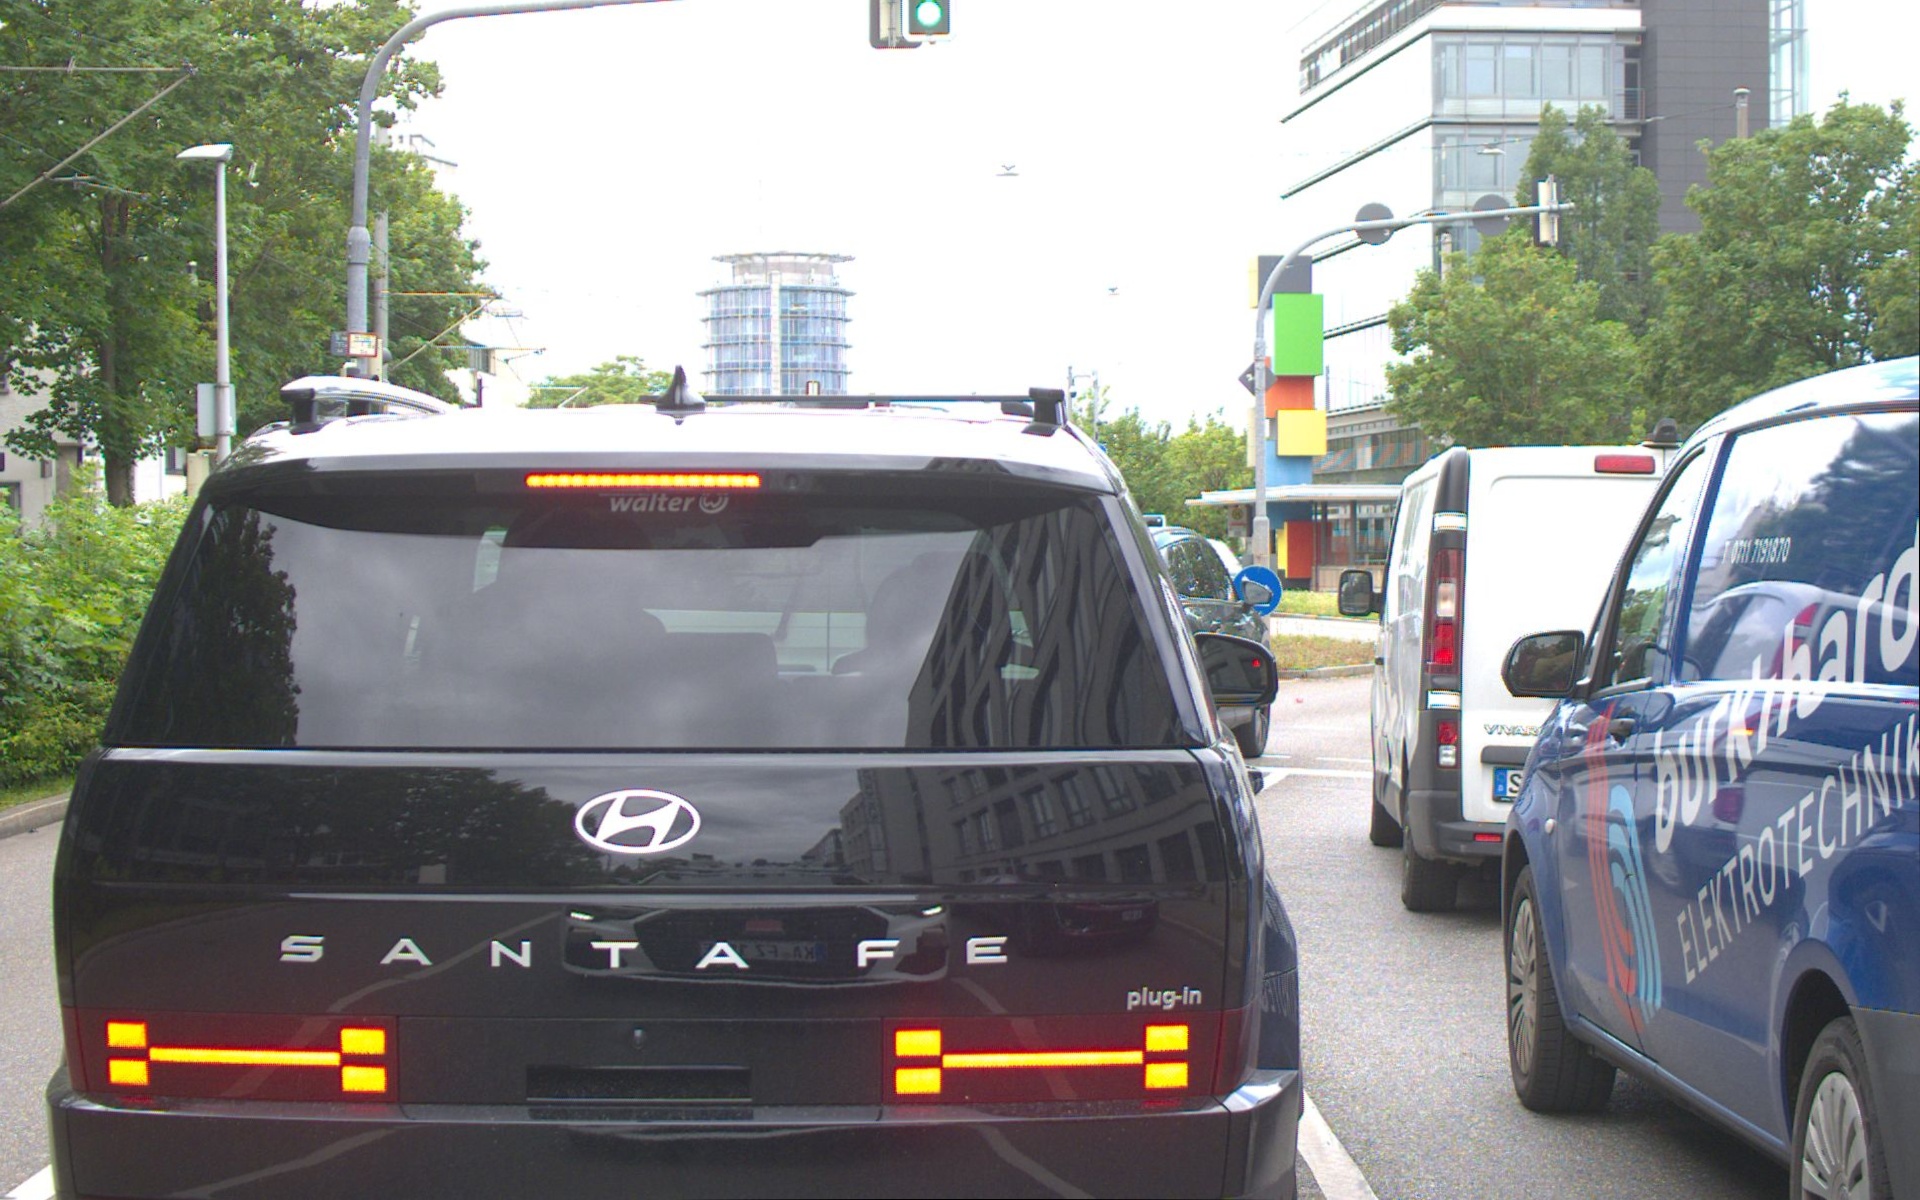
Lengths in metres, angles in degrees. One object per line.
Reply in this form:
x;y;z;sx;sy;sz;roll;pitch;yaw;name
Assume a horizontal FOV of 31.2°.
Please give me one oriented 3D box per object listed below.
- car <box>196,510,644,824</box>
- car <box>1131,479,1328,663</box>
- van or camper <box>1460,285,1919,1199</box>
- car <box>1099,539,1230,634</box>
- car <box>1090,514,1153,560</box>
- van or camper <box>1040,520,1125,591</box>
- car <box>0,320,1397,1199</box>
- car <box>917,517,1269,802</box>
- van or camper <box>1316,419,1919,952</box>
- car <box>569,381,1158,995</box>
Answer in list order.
-3.030;0.335;20.131;1.847;1.575;4.116;-2;0;1;car
3.069;-0.333;39.943;1.993;2.007;4.000;0;0;1;car
2.401;0.424;7.419;1.859;1.904;5.032;0;1;-1;van or camper
3.571;-0.249;60.657;1.993;1.612;4.000;0;0;-1;car
6.161;-2.395;131.476;1.993;1.678;4.000;0;0;-3;car
4.546;-1.637;126.888;1.994;2.538;6.575;1;0;12;van or camper
-0.412;0.500;6.202;1.869;1.754;3.880;0;1;-1;car
0.993;0.341;23.033;1.776;1.711;4.336;1;0;10;car
2.752;0.284;15.394;1.994;2.007;4.652;1;1;2;van or camper
-0.337;0.254;13.160;1.915;1.996;3.880;0;1;-1;car
